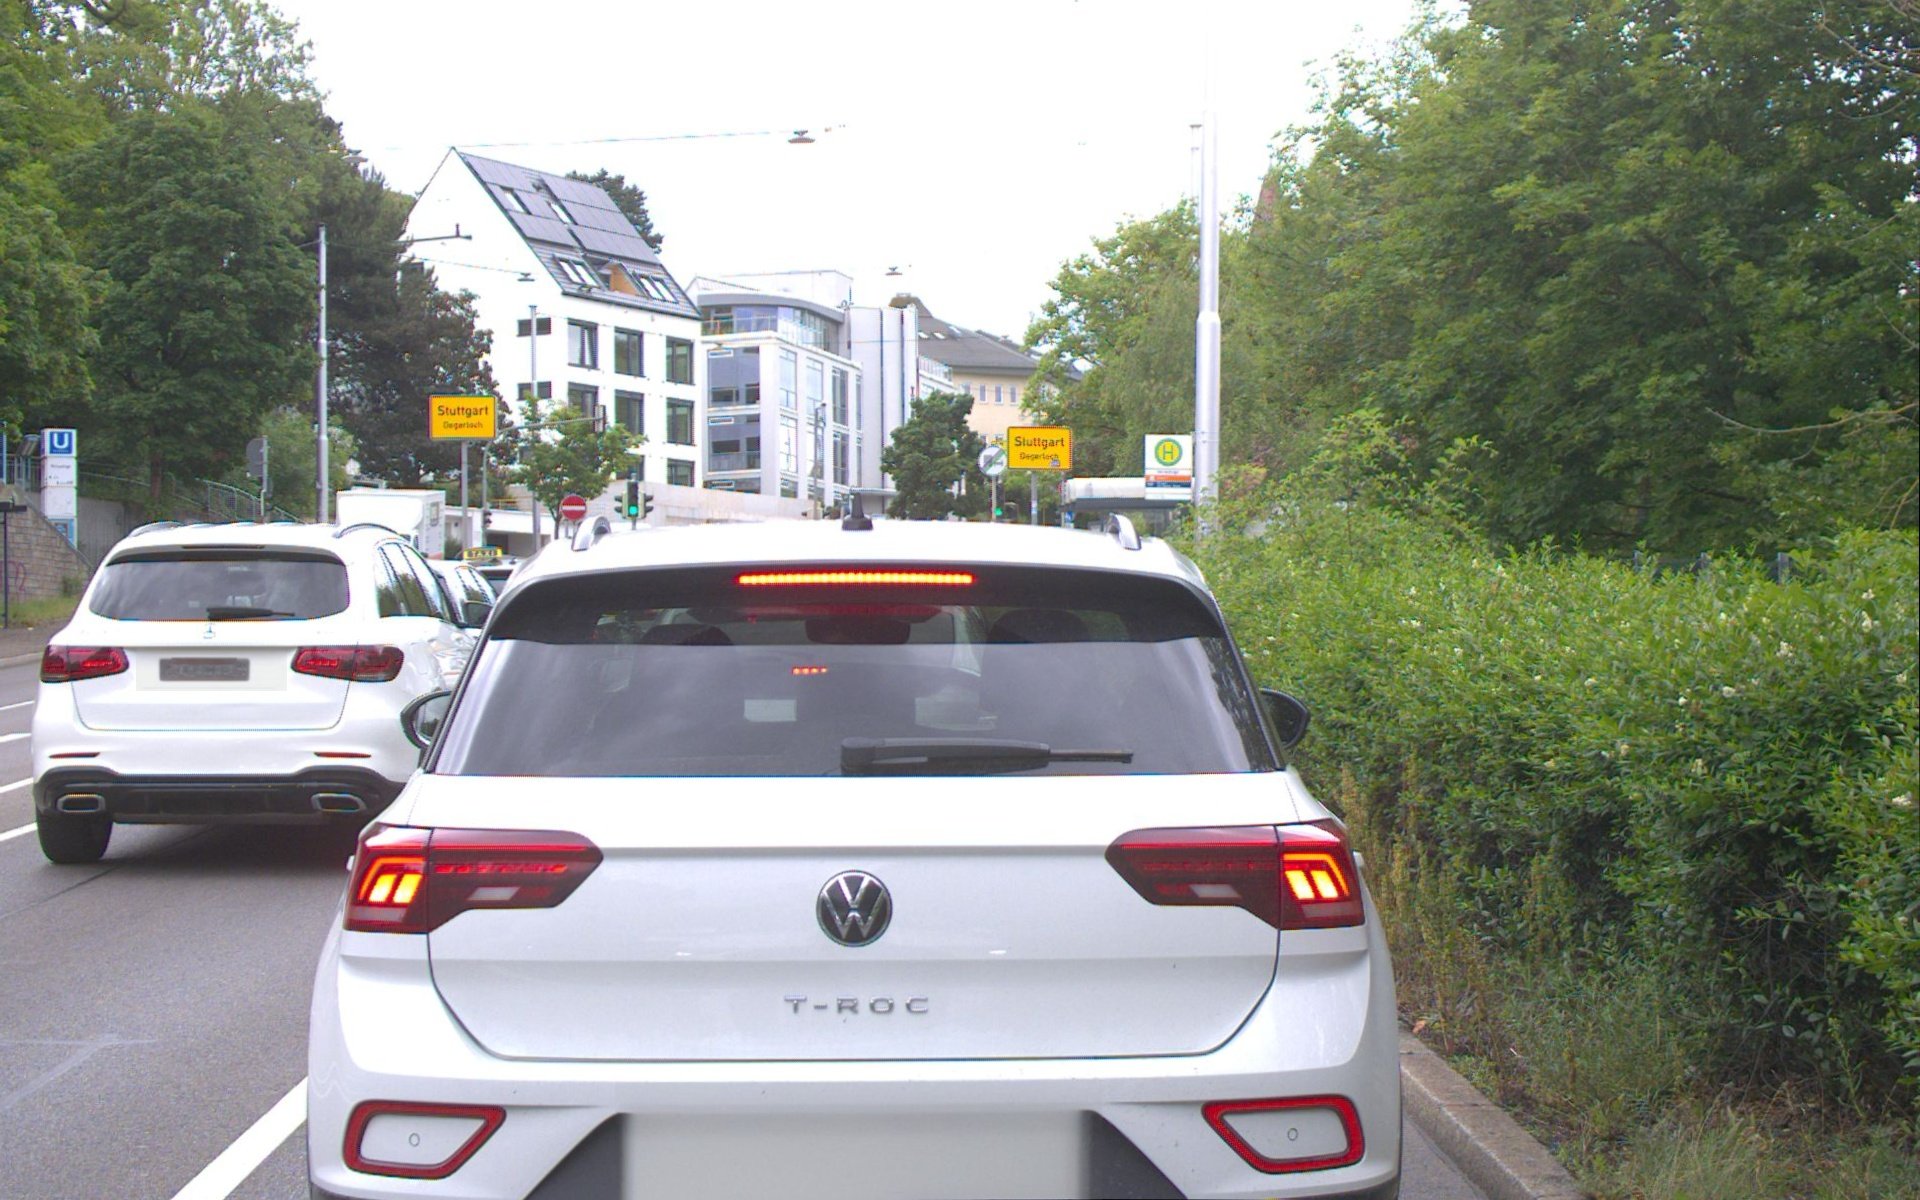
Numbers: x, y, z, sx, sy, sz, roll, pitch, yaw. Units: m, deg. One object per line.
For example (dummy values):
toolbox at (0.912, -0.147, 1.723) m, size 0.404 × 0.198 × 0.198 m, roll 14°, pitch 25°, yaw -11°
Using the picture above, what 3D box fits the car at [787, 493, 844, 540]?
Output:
car at (-4.896, -2.829, 116.739) m, size 1.829 × 1.520 × 4.000 m, roll -1°, pitch 1°, yaw -1°

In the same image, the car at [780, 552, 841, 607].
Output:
car at (-4.745, -0.666, 109.391) m, size 1.815 × 1.651 × 3.929 m, roll -2°, pitch 1°, yaw -1°

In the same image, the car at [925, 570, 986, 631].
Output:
car at (-0.136, 0.031, 117.191) m, size 1.993 × 2.007 × 4.000 m, roll -1°, pitch 0°, yaw 0°

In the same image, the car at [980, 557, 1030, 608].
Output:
car at (1.854, -0.722, 143.485) m, size 1.993 × 2.007 × 4.000 m, roll -1°, pitch 0°, yaw 0°

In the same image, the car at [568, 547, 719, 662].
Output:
car at (-4.431, 0.032, 48.593) m, size 1.829 × 1.520 × 4.000 m, roll -1°, pitch 1°, yaw -1°

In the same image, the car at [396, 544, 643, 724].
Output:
car at (-3.983, 0.259, 31.673) m, size 1.829 × 1.520 × 4.000 m, roll -1°, pitch 1°, yaw -1°

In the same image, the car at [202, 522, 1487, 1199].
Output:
car at (-0.209, 0.623, 6.916) m, size 1.829 × 1.520 × 4.000 m, roll 0°, pitch 1°, yaw -1°

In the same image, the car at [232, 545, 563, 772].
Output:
car at (-4.015, 0.363, 25.136) m, size 1.829 × 1.492 × 4.000 m, roll -1°, pitch 1°, yaw -1°

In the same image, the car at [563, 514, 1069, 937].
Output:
car at (-0.578, 0.429, 14.631) m, size 1.829 × 1.520 × 4.000 m, roll -1°, pitch 1°, yaw -1°

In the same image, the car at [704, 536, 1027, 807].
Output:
car at (-0.593, 0.381, 21.713) m, size 1.829 × 1.520 × 4.000 m, roll -1°, pitch 1°, yaw -1°

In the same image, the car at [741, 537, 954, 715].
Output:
car at (-1.030, 0.195, 31.970) m, size 1.829 × 1.520 × 4.000 m, roll -1°, pitch 1°, yaw -1°

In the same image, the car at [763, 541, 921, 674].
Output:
car at (-1.434, 0.054, 42.295) m, size 1.829 × 1.520 × 4.000 m, roll -1°, pitch 1°, yaw -1°

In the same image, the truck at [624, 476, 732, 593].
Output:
truck at (-6.962, -1.624, 85.327) m, size 2.362 × 2.772 × 4.478 m, roll -2°, pitch 1°, yaw -1°

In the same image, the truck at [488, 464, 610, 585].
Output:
truck at (-9.612, -1.763, 80.690) m, size 2.362 × 2.697 × 4.478 m, roll -2°, pitch 1°, yaw -1°

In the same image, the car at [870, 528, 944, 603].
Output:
car at (-1.461, -0.963, 95.759) m, size 1.993 × 2.007 × 4.000 m, roll -1°, pitch 1°, yaw -1°

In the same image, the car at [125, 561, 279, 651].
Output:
car at (-12.672, 0.070, 57.691) m, size 1.679 × 1.390 × 4.361 m, roll -2°, pitch 1°, yaw -1°

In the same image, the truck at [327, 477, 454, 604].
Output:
truck at (-14.298, -1.477, 86.719) m, size 2.293 × 3.040 × 6.980 m, roll -1°, pitch 1°, yaw -3°

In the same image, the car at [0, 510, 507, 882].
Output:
car at (-3.485, 0.403, 17.519) m, size 1.918 × 1.664 × 4.000 m, roll 0°, pitch 1°, yaw -1°

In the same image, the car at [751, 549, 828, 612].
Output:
car at (-4.308, -0.522, 87.270) m, size 1.829 × 1.520 × 4.000 m, roll -1°, pitch 1°, yaw -1°

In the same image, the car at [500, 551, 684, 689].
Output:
car at (-4.306, 0.196, 40.730) m, size 1.829 × 1.520 × 4.000 m, roll -1°, pitch 1°, yaw -1°

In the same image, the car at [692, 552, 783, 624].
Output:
car at (-4.900, -0.282, 76.201) m, size 1.829 × 1.520 × 4.000 m, roll -1°, pitch 1°, yaw -1°
